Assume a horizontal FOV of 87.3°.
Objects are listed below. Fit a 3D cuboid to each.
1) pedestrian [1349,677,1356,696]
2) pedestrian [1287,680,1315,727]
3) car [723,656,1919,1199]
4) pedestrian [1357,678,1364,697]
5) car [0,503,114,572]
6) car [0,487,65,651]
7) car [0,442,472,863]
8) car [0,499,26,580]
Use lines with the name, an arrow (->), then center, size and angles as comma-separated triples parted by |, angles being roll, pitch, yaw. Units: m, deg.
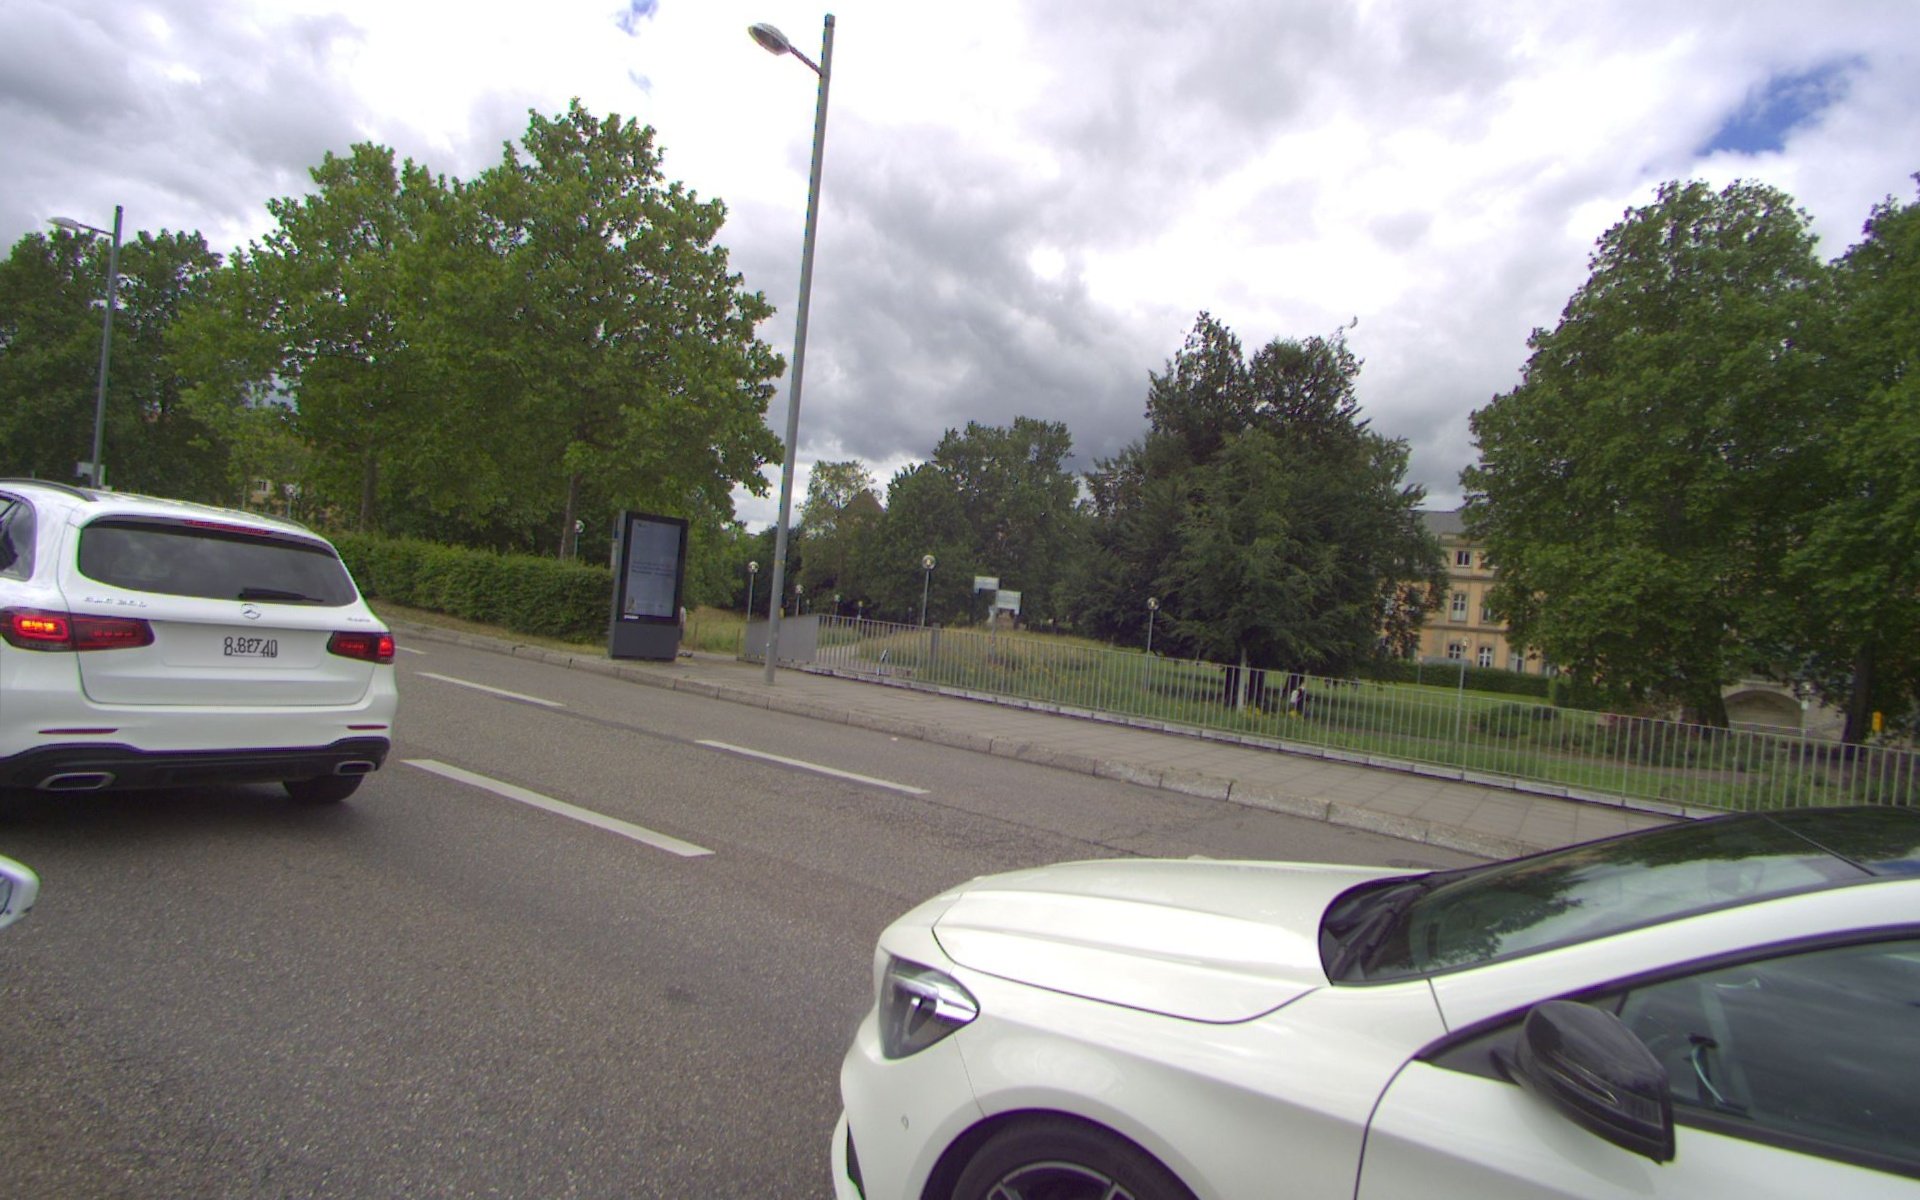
pedestrian -> 37.208, 8.196, 95.335 | 0.460, 1.756, 0.405 | 5, -2, 32
pedestrian -> 12.599, 3.813, 37.197 | 0.645, 1.619, 0.684 | 6, -2, -1
car -> 1.841, 1.097, 1.838 | 4.454, 1.436, 1.796 | 5, -2, 33
pedestrian -> 37.997, 8.315, 95.466 | 0.460, 1.725, 0.405 | 5, -2, 32
car -> -25.208, -1.740, 27.659 | 4.460, 1.476, 1.932 | 5, -3, 37
car -> -11.441, -0.538, 10.515 | 4.417, 1.569, 1.929 | 6, -2, 33
car -> -5.143, 0.100, 5.962 | 4.417, 1.673, 1.929 | 6, -1, 33
car -> -22.277, -1.537, 21.673 | 4.233, 1.659, 1.997 | 7, -1, 31
